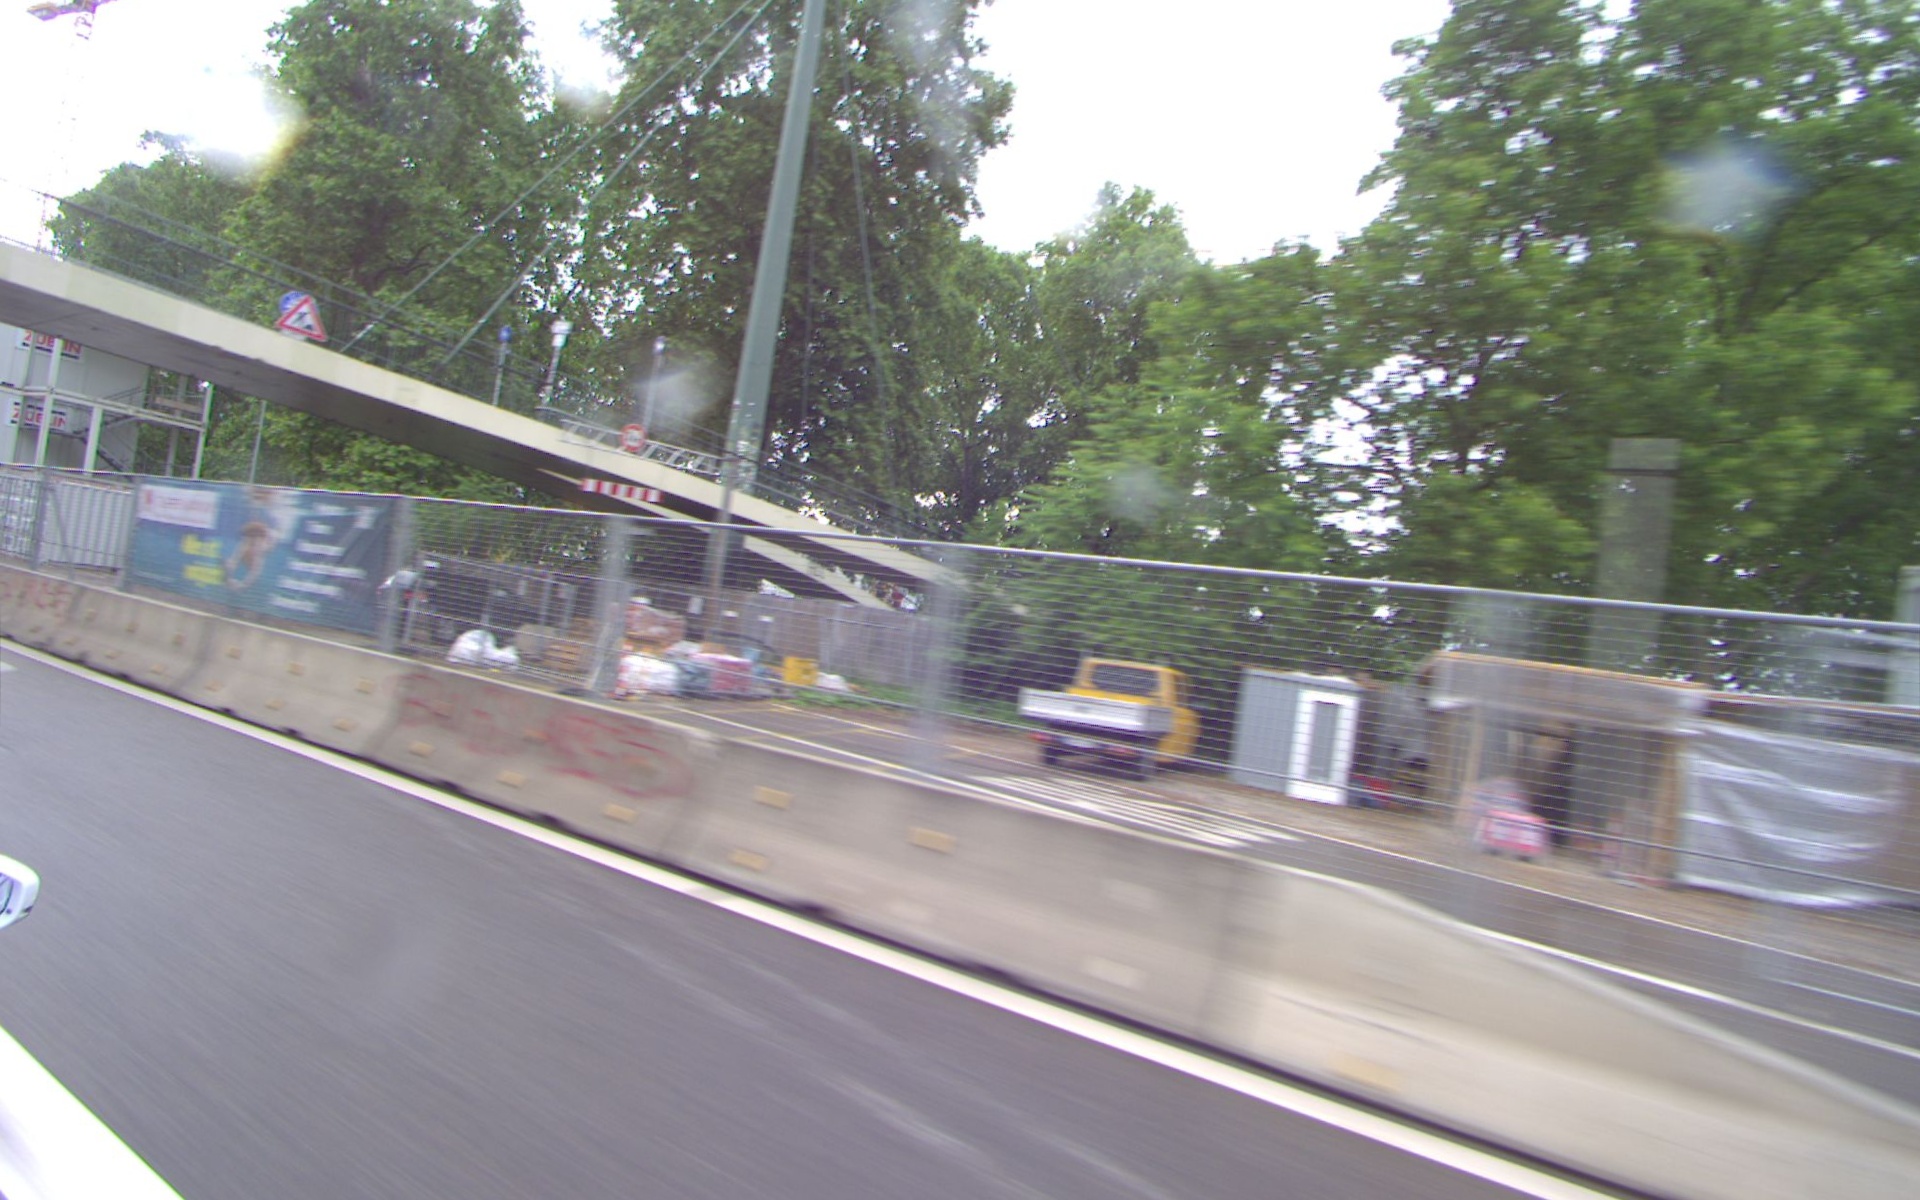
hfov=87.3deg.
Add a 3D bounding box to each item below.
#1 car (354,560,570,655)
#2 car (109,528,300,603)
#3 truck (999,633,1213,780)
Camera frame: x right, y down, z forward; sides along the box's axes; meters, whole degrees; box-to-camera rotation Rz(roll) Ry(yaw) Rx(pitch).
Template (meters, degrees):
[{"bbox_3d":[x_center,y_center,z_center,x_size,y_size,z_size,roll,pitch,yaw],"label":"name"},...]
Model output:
[{"bbox_3d":[-12.495,0.265,25.583,1.964,1.747,4.516,6,-4,26],"label":"car"},{"bbox_3d":[-24.620,-1.071,32.977,1.757,1.647,4.557,8,-3,29],"label":"car"},{"bbox_3d":[2.845,1.903,18.189,2.366,2.036,5.173,5,-4,24],"label":"truck"}]
